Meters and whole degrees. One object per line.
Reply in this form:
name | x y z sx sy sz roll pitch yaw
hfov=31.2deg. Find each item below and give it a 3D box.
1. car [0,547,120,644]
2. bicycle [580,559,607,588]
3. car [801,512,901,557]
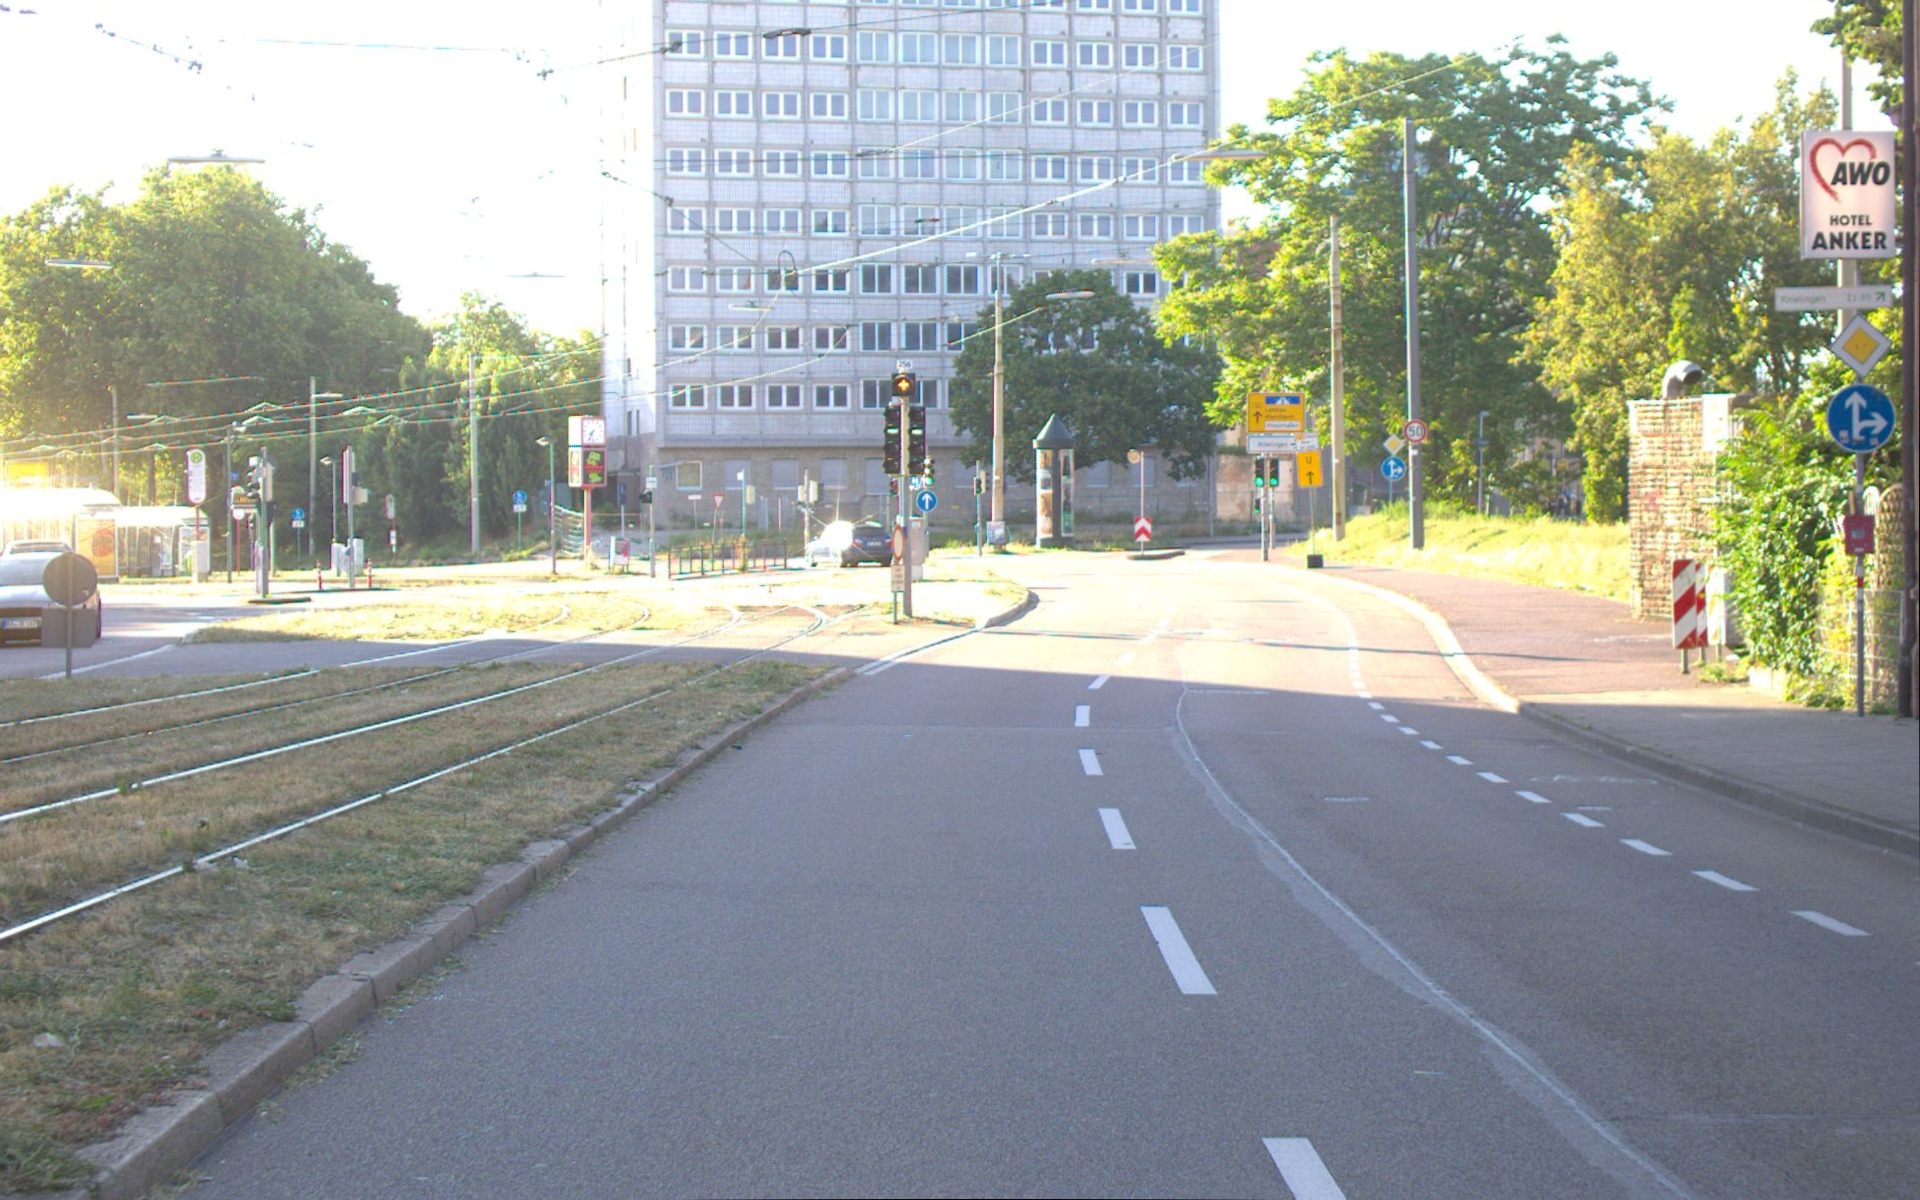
car | -14.895 -0.084 55.564 1.697 1.455 4.316 -2 1 -3
bicycle | -12.764 -0.925 119.653 0.553 0.914 1.743 -3 2 6
car | -3.598 -2.164 113.349 1.772 1.417 3.856 -2 2 -27
